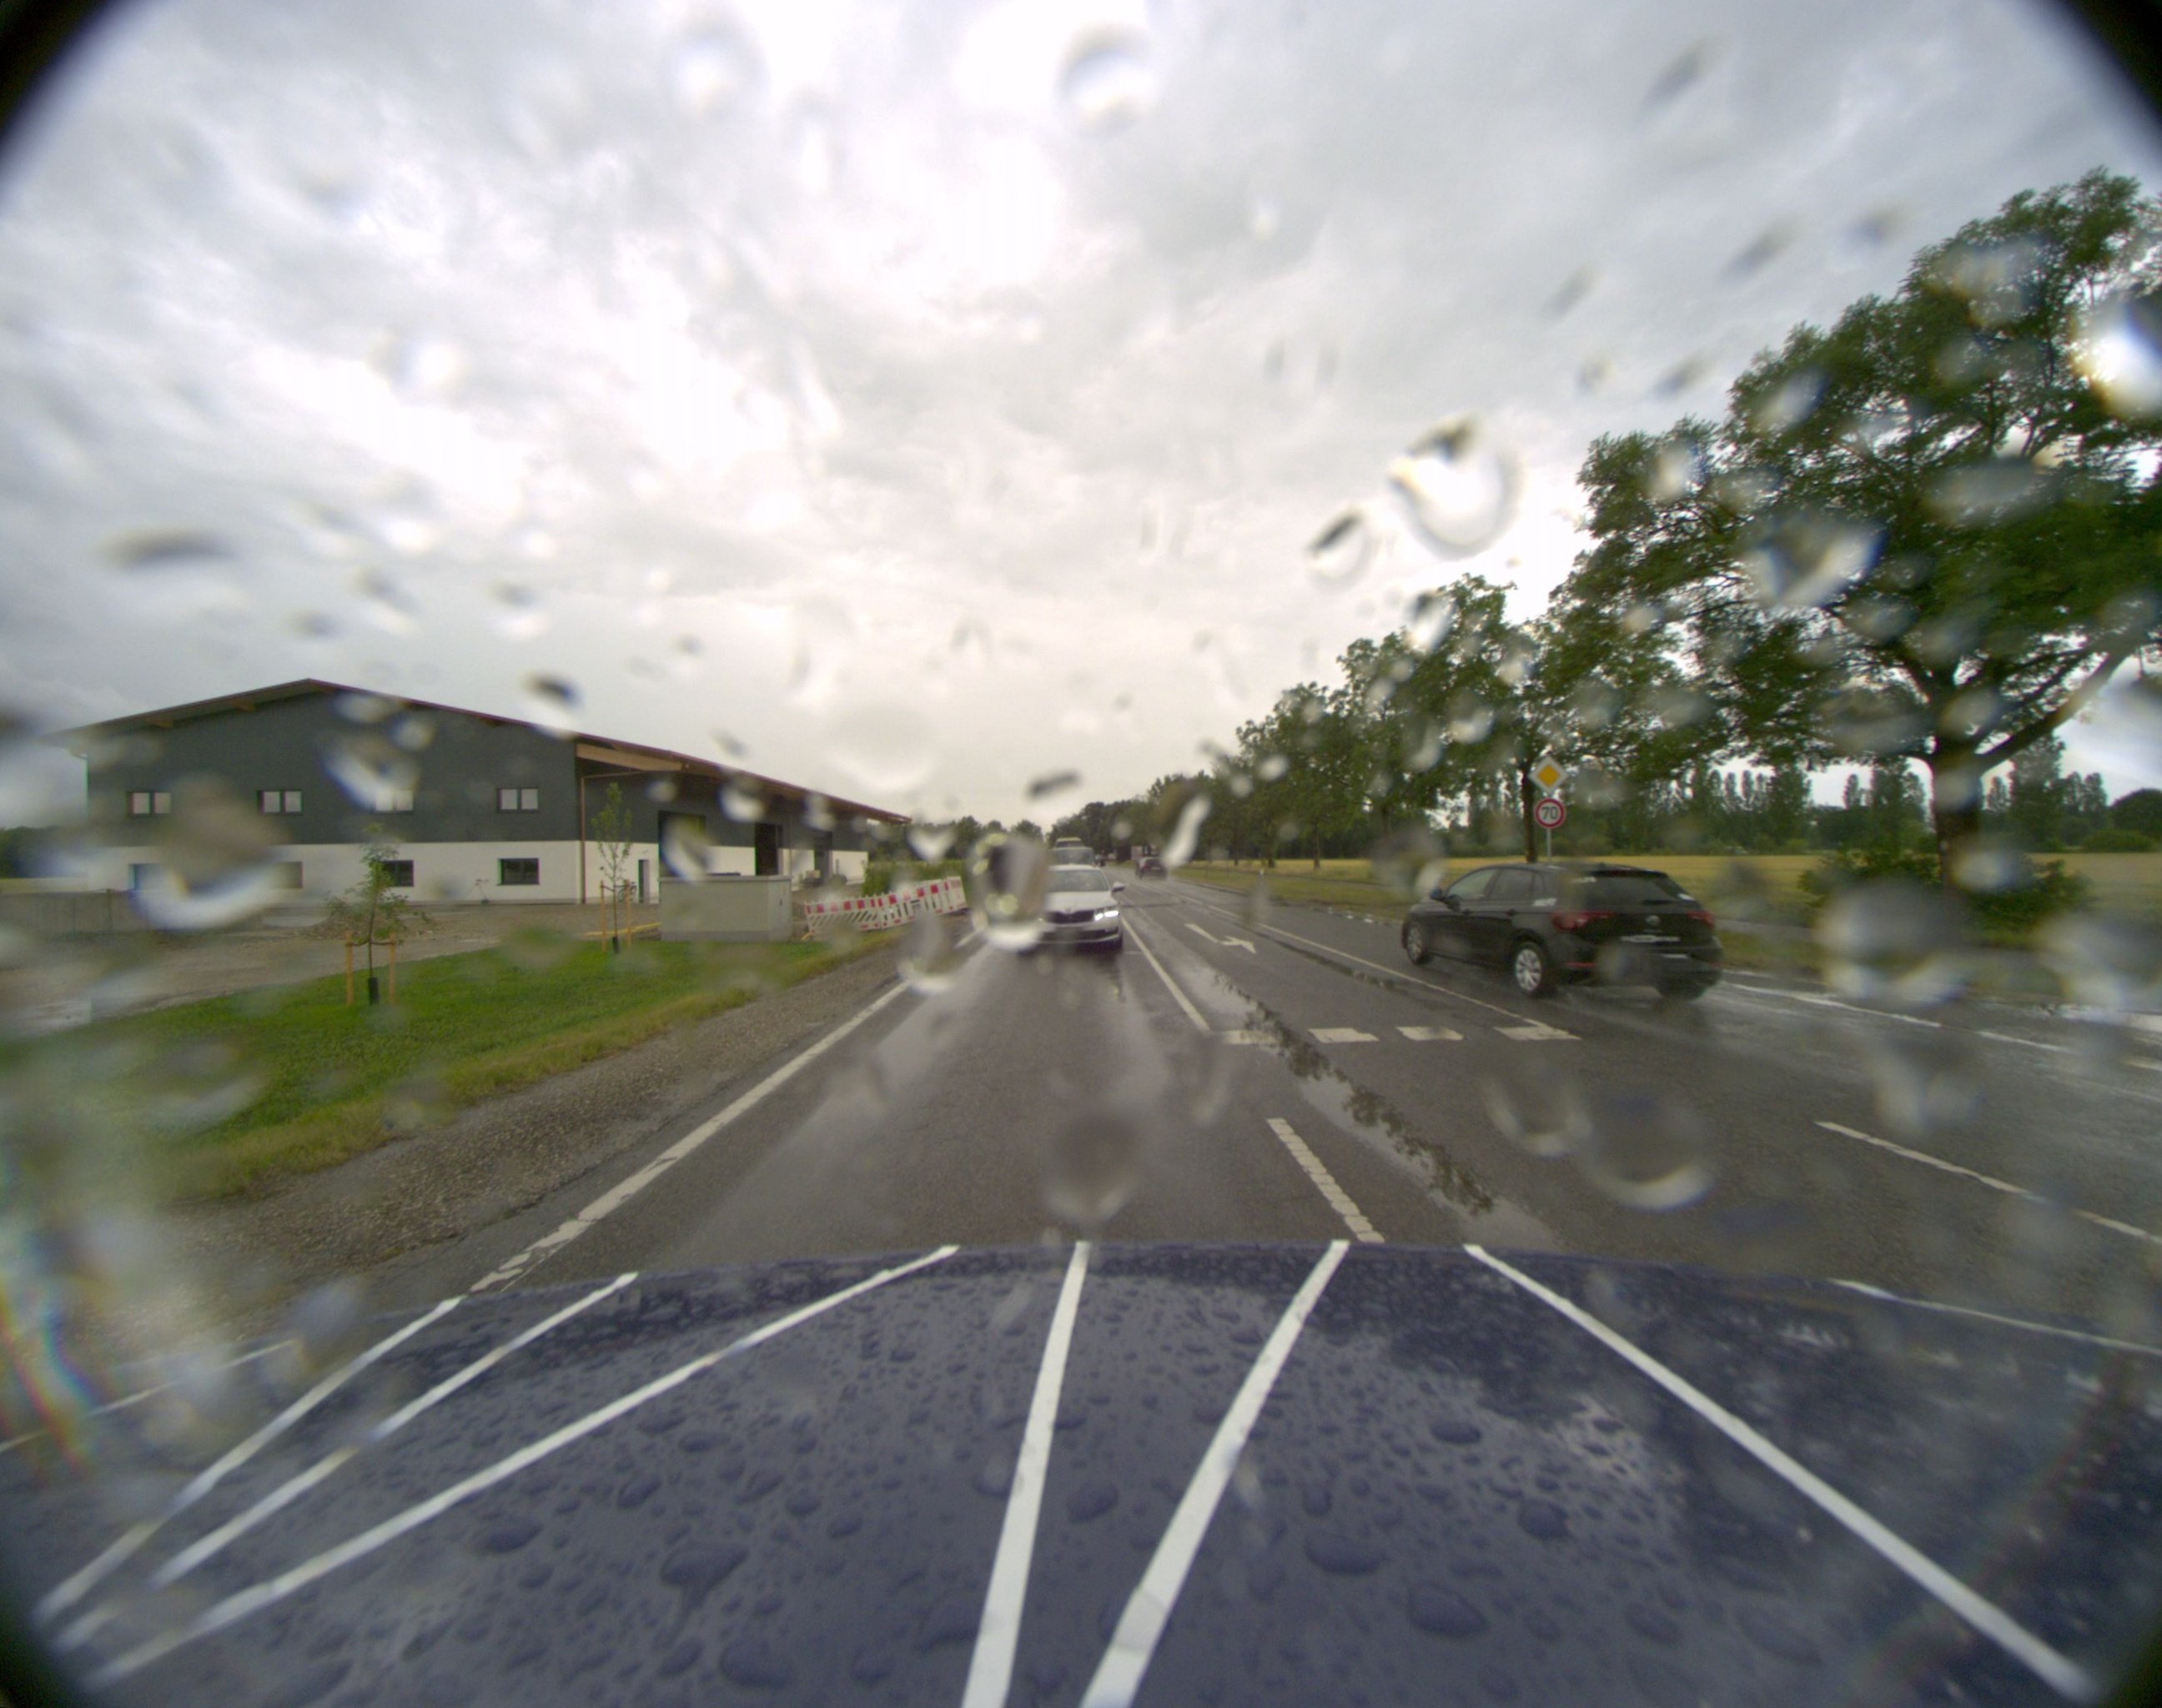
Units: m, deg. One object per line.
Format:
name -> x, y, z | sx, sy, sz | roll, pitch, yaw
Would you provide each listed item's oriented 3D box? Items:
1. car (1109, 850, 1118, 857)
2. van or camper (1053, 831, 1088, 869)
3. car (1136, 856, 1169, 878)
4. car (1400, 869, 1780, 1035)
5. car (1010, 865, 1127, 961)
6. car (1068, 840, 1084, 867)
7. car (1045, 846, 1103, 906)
car -> 9.010, -0.170, 211.124 | 1.999, 2.002, 3.997 | -1, 1, -5
van or camper -> -1.074, -0.419, 78.720 | 3.342, 3.624, 8.372 | -1, 0, 0
car -> 4.815, 0.851, 51.718 | 1.770, 1.429, 4.412 | 0, 0, -1
car -> 5.317, 0.907, 8.643 | 1.716, 1.397, 3.813 | 0, 0, -1
car -> -0.202, 0.939, 13.942 | 1.770, 1.365, 4.575 | -1, 0, 0
car -> -0.643, -0.039, 90.492 | 1.771, 3.134, 4.027 | -1, 0, -1
car -> -0.254, 0.701, 26.838 | 1.841, 1.888, 4.575 | -1, 0, 0
